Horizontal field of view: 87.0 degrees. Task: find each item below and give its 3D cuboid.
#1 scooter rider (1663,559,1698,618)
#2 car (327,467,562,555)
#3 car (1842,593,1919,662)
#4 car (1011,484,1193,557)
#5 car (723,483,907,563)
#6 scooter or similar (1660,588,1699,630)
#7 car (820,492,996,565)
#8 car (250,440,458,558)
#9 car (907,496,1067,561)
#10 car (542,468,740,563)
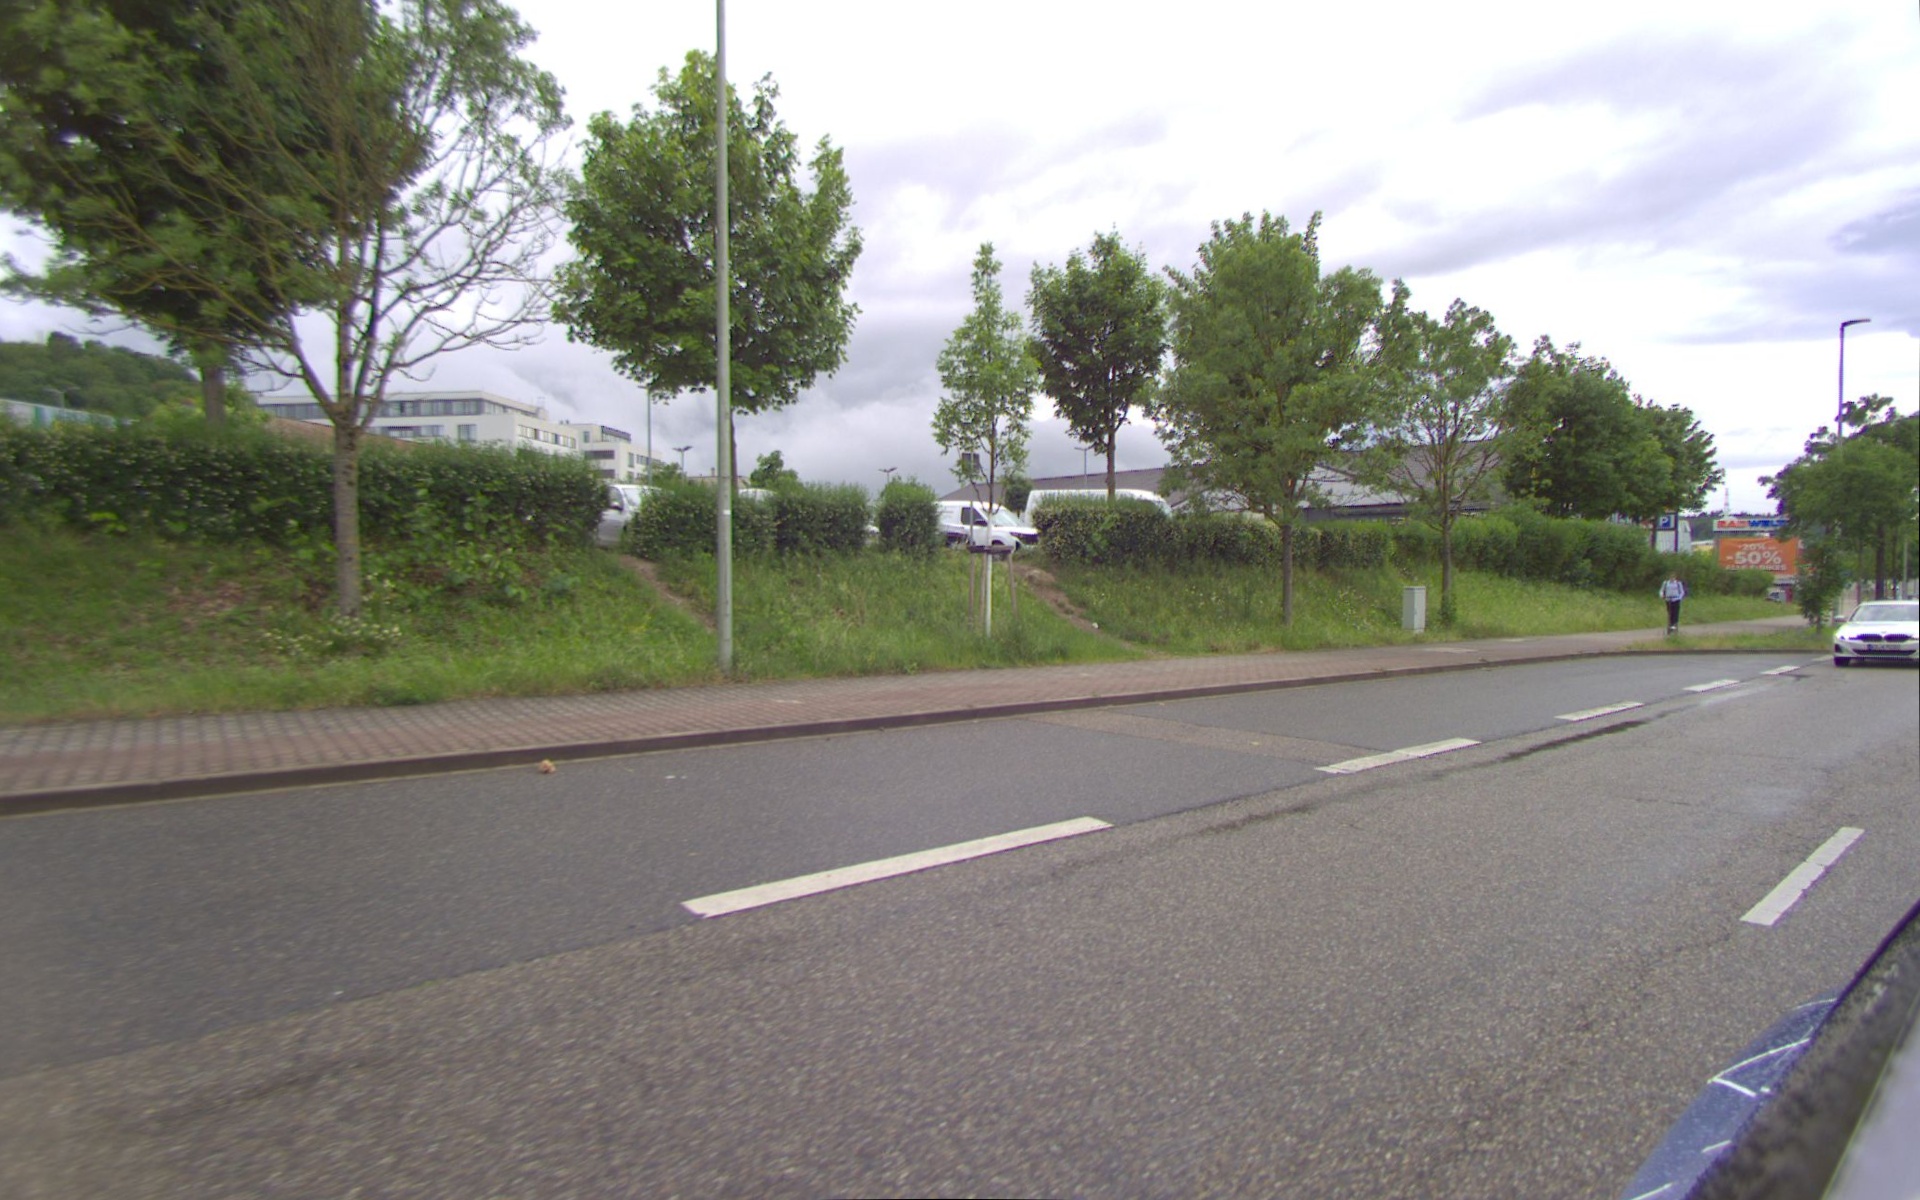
[{"bbox_3d":[23.234,-0.376,32.635,0.843,1.842,0.696,-1,3,-42],"label":"scooter rider"},{"bbox_3d":[-11.289,-1.943,22.458,4.271,1.648,1.933,2,3,-11],"label":"car"},{"bbox_3d":[21.708,0.574,23.010,4.461,1.459,1.807,0,-1,-40],"label":"car"},{"bbox_3d":[4.511,-2.617,32.914,5.608,2.167,2.090,6,5,42],"label":"car"},{"bbox_3d":[-3.415,-1.791,23.246,4.351,1.648,1.898,6,5,44],"label":"car"},{"bbox_3d":[23.237,0.270,32.680,1.377,1.279,0.696,-1,3,-42],"label":"scooter or similar"},{"bbox_3d":[-1.362,-1.809,25.197,4.351,1.648,1.898,6,5,44],"label":"car"},{"bbox_3d":[-10.078,-1.630,16.674,4.351,1.648,1.898,6,5,44],"label":"car"},{"bbox_3d":[0.691,-2.036,28.412,4.351,1.648,1.898,6,5,44],"label":"car"},{"bbox_3d":[-6.393,-1.680,20.028,4.351,1.648,1.898,6,5,44],"label":"car"}]
